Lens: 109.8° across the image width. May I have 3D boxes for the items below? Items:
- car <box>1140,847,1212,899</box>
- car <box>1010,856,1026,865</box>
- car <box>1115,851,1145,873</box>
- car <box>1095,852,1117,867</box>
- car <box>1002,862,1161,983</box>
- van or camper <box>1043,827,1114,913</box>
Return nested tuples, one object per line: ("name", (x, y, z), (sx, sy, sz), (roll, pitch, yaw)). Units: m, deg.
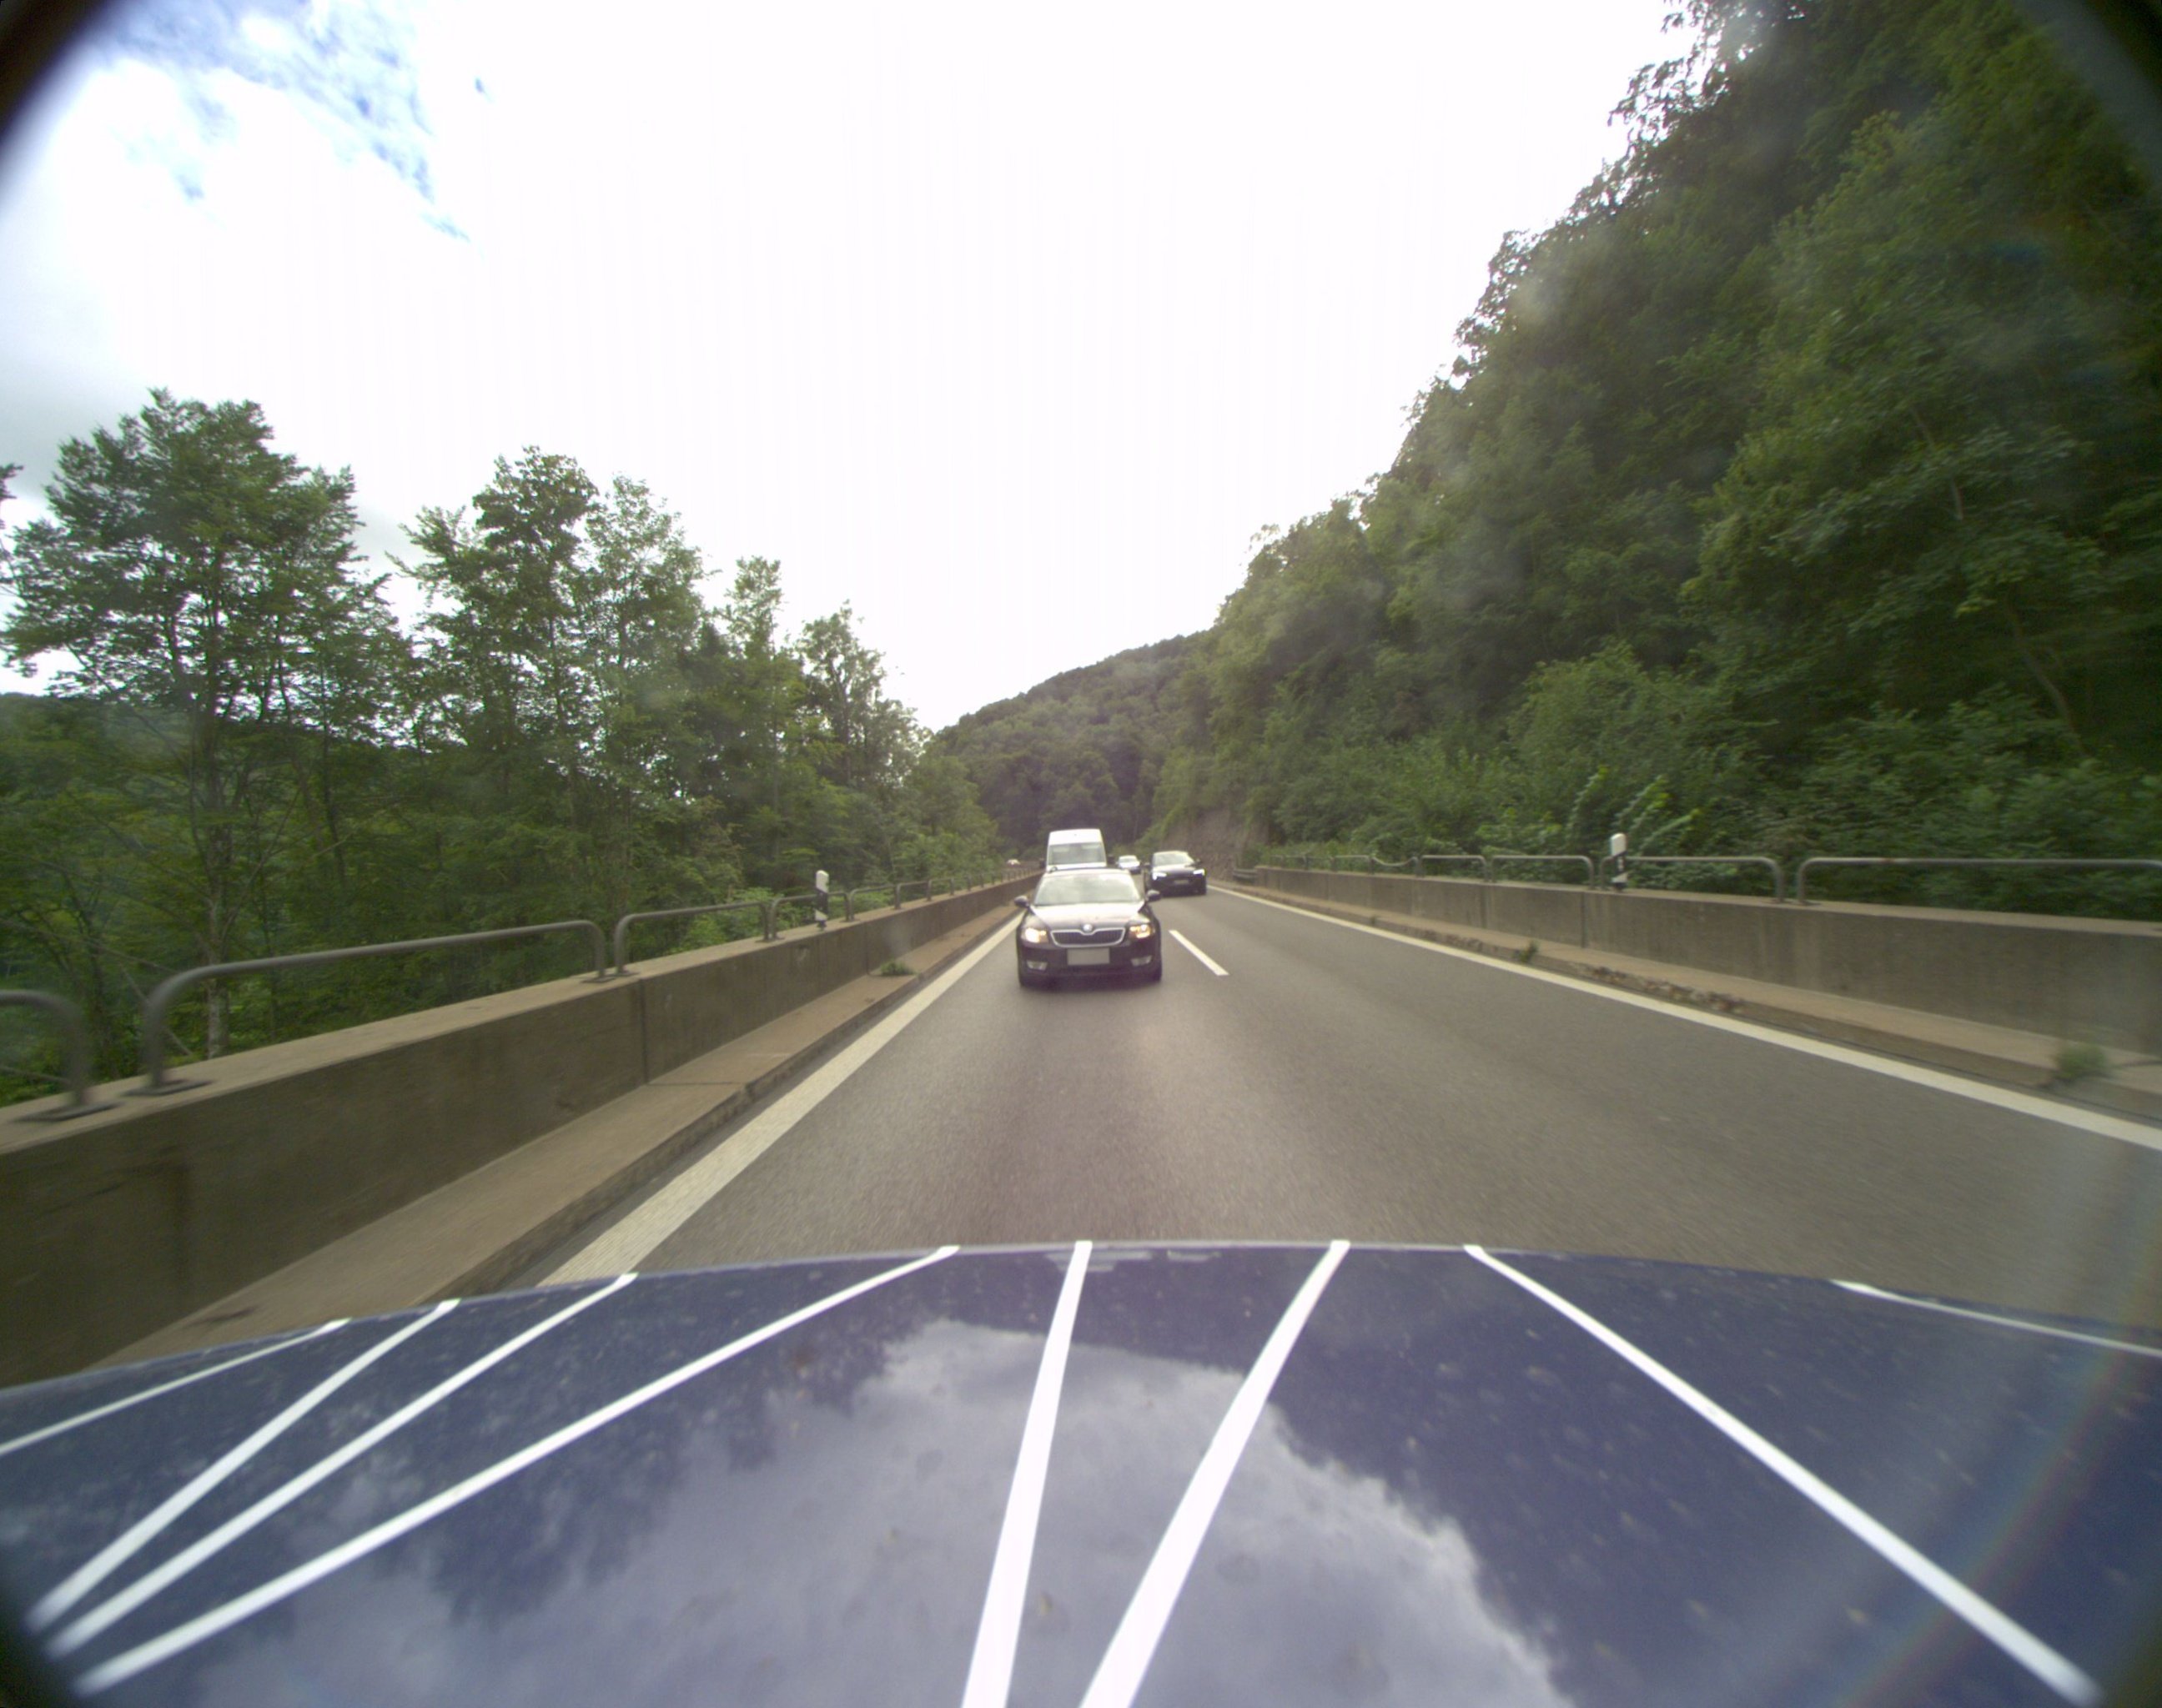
("car", (3.464, 0.644, 28.615), (1.998, 1.622, 5.008), (-5, 0, 1))
("car", (-12.875, 1.315, 155.429), (1.817, 1.646, 4.573), (1, 0, -23))
("car", (3.718, 0.596, 58.875), (1.686, 1.506, 4.581), (-4, 0, -3))
("car", (3.083, 0.626, 94.731), (1.814, 1.646, 4.579), (-4, 1, -8))
("car", (0.038, 0.936, 12.528), (1.998, 1.389, 5.008), (-4, 0, 1))
("van or camper", (-0.099, 0.498, 26.075), (2.081, 2.575, 5.911), (-2, 0, -1))
